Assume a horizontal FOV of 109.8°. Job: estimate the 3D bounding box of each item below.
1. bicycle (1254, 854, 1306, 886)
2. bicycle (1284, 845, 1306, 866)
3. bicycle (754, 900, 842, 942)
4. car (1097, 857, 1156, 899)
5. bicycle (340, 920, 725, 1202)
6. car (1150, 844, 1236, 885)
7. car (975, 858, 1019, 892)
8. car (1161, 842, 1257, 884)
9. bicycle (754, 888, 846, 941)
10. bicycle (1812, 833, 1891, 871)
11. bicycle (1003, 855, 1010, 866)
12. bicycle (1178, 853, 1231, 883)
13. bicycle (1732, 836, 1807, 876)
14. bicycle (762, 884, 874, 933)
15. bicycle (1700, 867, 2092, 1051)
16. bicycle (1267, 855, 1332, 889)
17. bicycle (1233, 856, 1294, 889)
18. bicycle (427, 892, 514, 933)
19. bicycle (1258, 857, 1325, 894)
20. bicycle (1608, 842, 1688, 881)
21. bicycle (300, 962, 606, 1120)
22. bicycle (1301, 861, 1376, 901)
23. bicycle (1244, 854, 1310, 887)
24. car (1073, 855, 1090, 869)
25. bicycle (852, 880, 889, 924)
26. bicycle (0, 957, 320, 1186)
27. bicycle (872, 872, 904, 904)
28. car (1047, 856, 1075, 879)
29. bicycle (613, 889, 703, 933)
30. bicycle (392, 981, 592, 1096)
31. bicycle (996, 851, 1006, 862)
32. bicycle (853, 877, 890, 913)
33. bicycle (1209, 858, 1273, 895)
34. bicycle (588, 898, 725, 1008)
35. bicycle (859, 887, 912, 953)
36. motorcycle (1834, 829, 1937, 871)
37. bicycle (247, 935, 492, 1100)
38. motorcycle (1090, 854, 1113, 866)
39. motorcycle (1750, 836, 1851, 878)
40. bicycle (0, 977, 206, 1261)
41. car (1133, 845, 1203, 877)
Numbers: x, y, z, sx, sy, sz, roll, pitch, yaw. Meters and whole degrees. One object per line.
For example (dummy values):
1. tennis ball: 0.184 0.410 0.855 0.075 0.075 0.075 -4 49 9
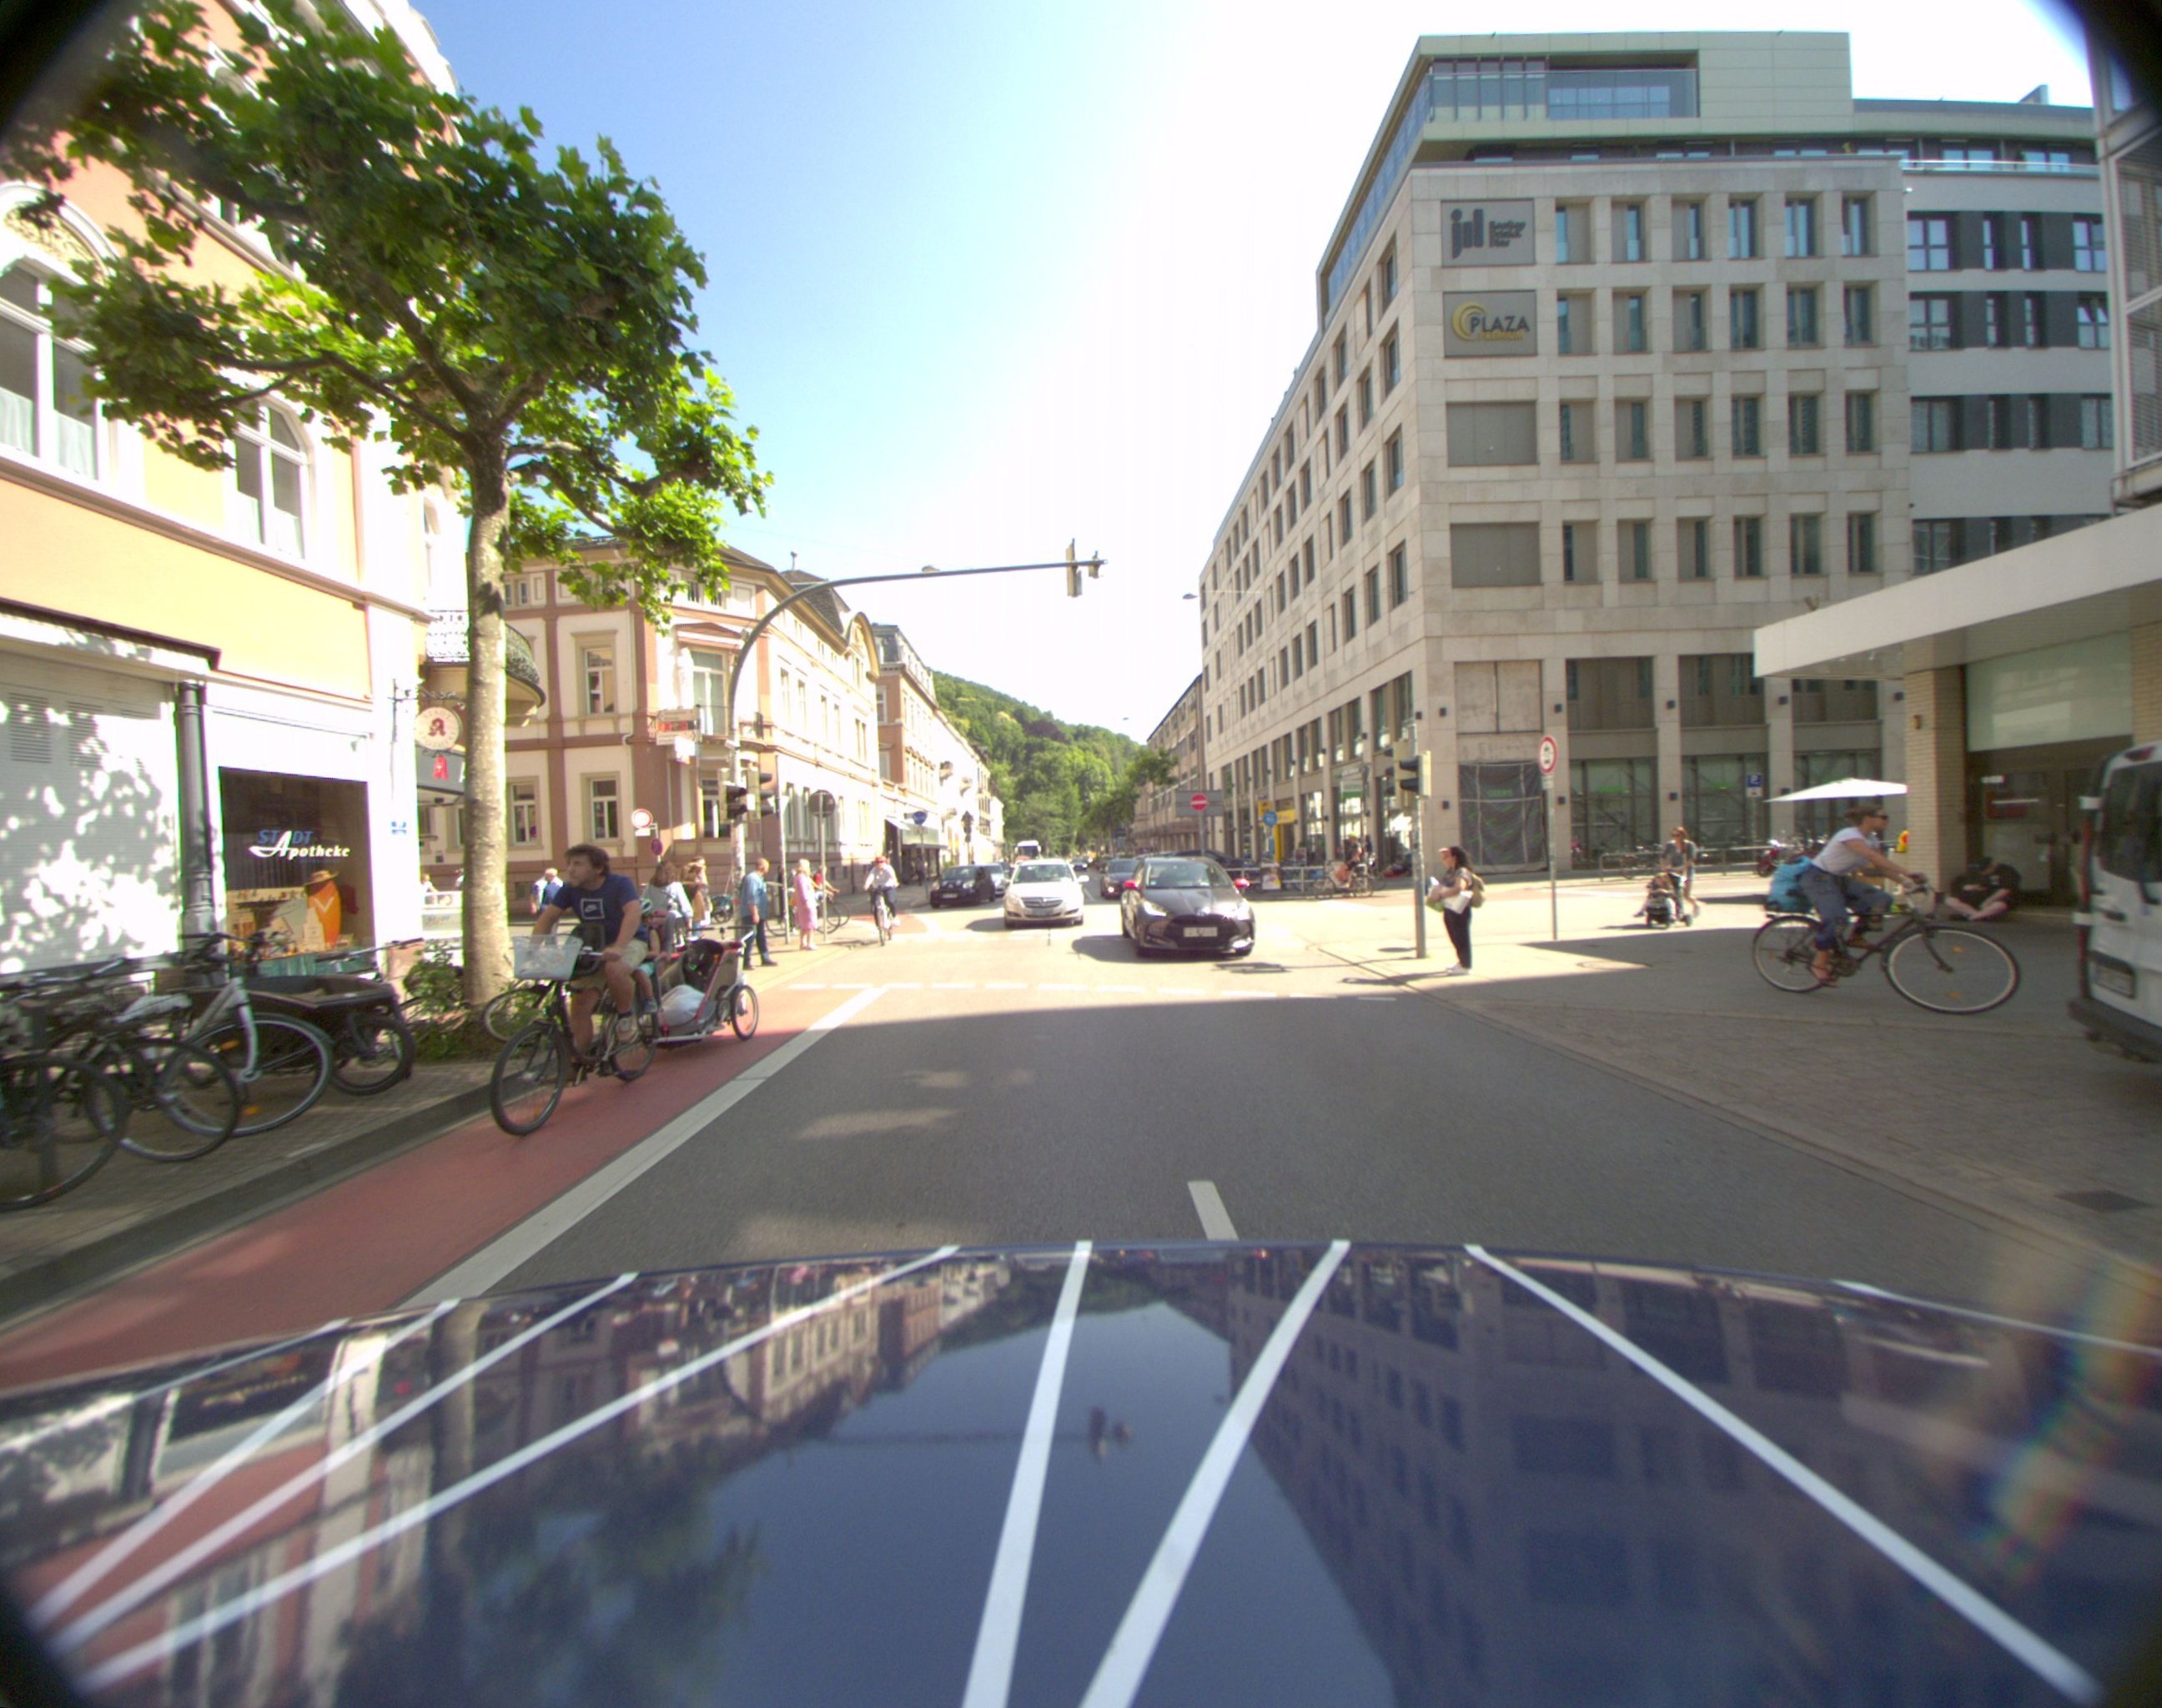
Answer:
1. bicycle: 7.822 0.617 29.839 1.863 1.120 0.485 -4 0 23
2. bicycle: 11.933 0.075 42.502 0.497 1.101 2.161 -4 0 -1
3. bicycle: -6.603 1.564 17.771 1.826 0.839 0.501 -3 1 0
4. car: 1.631 0.871 28.406 1.734 1.388 4.106 -2 -1 -2
5. bicycle: -3.387 1.178 5.082 0.733 1.261 2.283 -3 -1 4
6. car: 5.746 0.523 39.199 4.166 1.627 2.103 -6 1 7
7. car: -4.392 1.054 40.361 1.891 1.483 4.288 -5 1 -2
8. car: 6.058 0.426 35.795 4.026 1.593 1.961 -4 1 21
9. bicycle: -6.560 1.400 17.802 1.844 1.120 0.666 -2 2 3
10. bicycle: 24.604 -0.049 24.268 2.063 1.120 0.455 -2 0 -1
11. bicycle: -8.465 0.697 86.686 0.596 1.121 2.093 -1 2 0
12. bicycle: 5.262 0.614 32.407 2.146 1.120 0.485 -4 0 0
13. bicycle: 21.953 0.055 24.230 2.063 1.121 0.454 -3 4 -3
14. bicycle: -6.694 1.381 19.413 2.572 1.120 0.628 -2 0 -5
15. bicycle: 6.703 0.758 6.496 0.736 1.260 2.210 -3 0 -9
16. bicycle: 7.660 0.634 26.625 2.059 1.120 0.648 -3 0 25
17. bicycle: 6.856 0.706 28.568 2.060 1.120 0.563 -4 0 23
18. bicycle: -17.563 1.681 21.882 2.076 1.120 0.573 -1 0 3
19. bicycle: 7.038 0.712 25.470 2.059 1.162 0.606 -1 2 35
20. bicycle: 17.981 0.236 24.106 2.063 1.121 0.639 -2 4 -1
21. bicycle: -5.295 1.581 6.524 1.855 0.396 1.014 -10 36 3
22. bicycle: 7.794 0.811 23.037 1.991 1.120 0.799 -2 0 6
23. bicycle: 7.514 0.632 29.127 2.324 1.120 0.563 -4 1 23
24. car: 0.013 0.819 81.464 1.734 1.389 4.106 -2 0 -1
25. bicycle: -6.504 1.468 23.588 0.607 1.121 1.858 -1 4 0
26. bicycle: -5.684 1.232 4.454 1.844 1.120 0.667 -2 2 6
27. bicycle: -7.460 1.309 29.455 0.748 1.111 1.917 -3 0 -2
28. car: -1.350 0.889 51.190 1.775 1.469 4.106 0 -1 -2
29. bicycle: -11.954 1.573 21.646 0.750 1.120 3.242 -1 -2 0
30. bicycle: -5.539 1.725 7.323 1.142 0.432 1.850 8 4 -27
31. bicycle: -8.345 0.223 79.549 0.743 1.120 2.573 -1 1 0
32. bicycle: -7.169 1.395 26.060 0.664 1.111 1.992 -2 0 0
33. bicycle: 5.426 0.778 25.902 2.059 1.166 0.606 -2 2 44
34. bicycle: -5.195 1.193 9.252 1.852 1.181 0.718 -6 -3 37
35. bicycle: -3.880 1.281 15.245 0.737 1.120 2.032 -4 0 -8
36. motorcycle: 24.420 -0.103 23.097 0.655 1.166 2.059 -2 -1 -36
37. bicycle: -5.362 1.229 5.717 1.843 1.120 0.346 -4 0 14
38. motorcycle: 2.545 0.754 94.891 0.980 1.342 3.094 -2 1 -45
39. motorcycle: 21.385 0.107 22.643 0.658 1.166 2.060 0 -2 -28
40. bicycle: -5.521 1.235 3.633 1.844 1.120 0.666 -2 2 1
41. car: 5.671 0.467 49.695 4.029 1.584 1.822 -7 0 31
